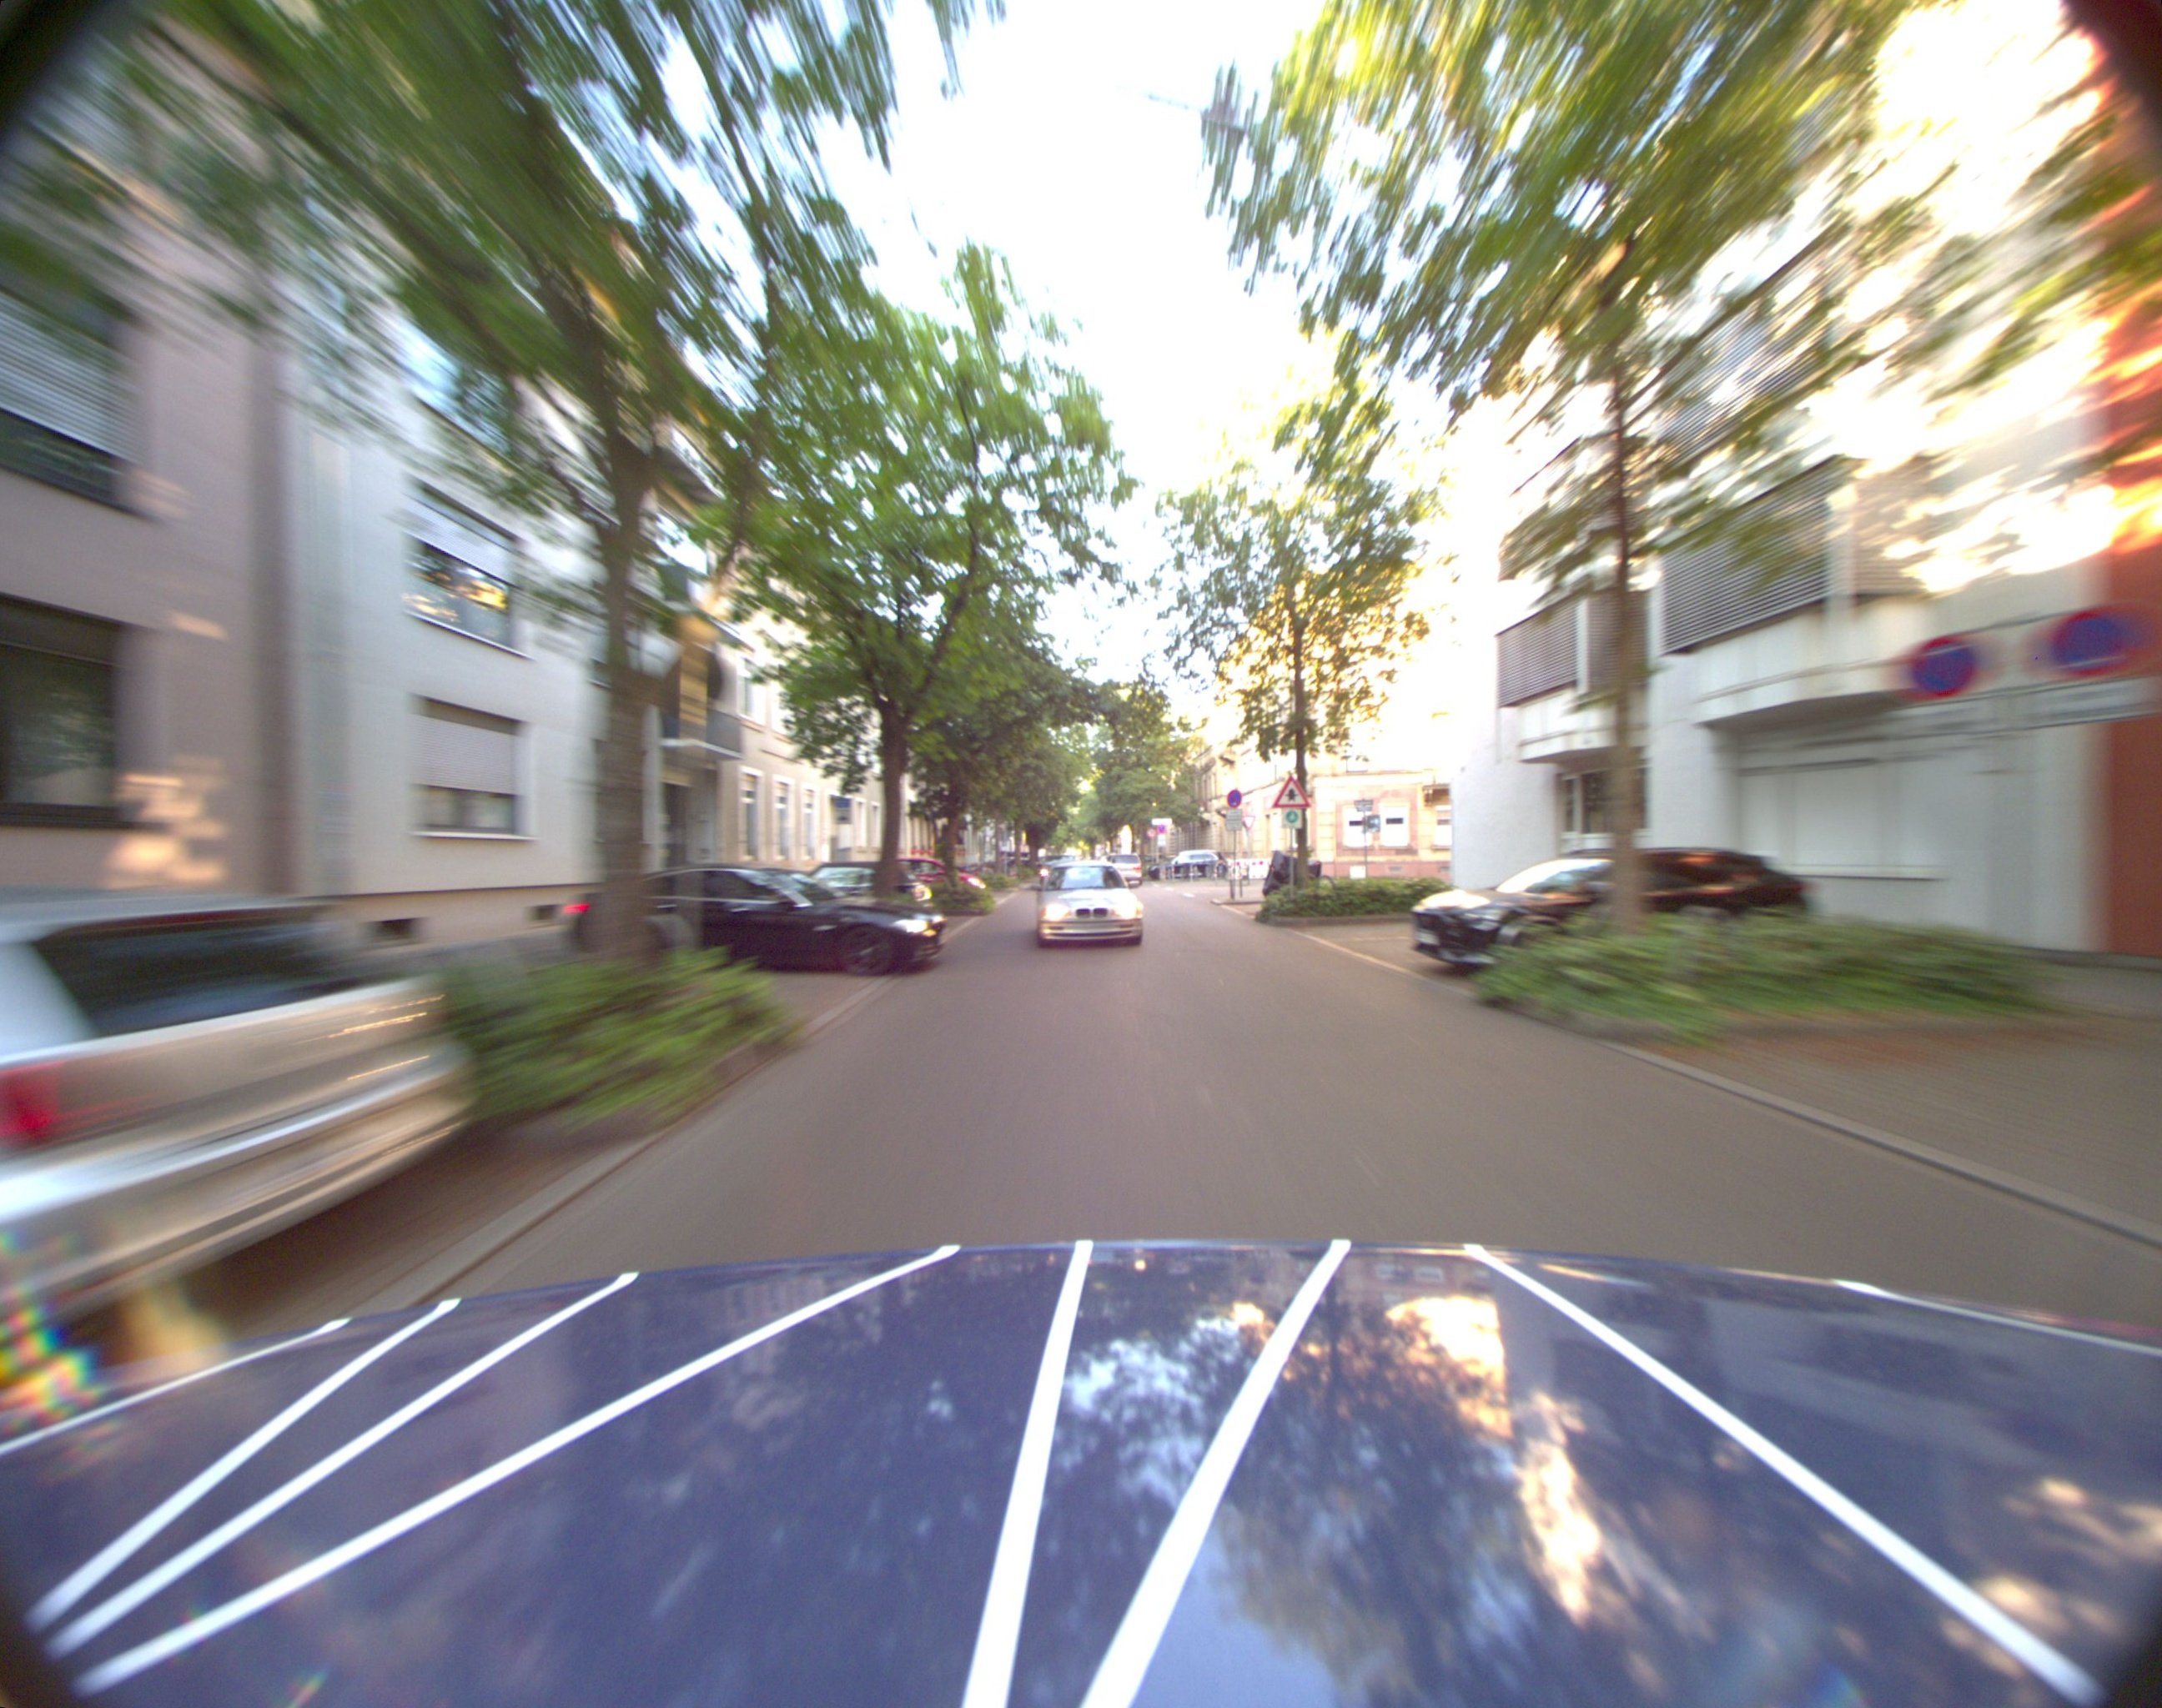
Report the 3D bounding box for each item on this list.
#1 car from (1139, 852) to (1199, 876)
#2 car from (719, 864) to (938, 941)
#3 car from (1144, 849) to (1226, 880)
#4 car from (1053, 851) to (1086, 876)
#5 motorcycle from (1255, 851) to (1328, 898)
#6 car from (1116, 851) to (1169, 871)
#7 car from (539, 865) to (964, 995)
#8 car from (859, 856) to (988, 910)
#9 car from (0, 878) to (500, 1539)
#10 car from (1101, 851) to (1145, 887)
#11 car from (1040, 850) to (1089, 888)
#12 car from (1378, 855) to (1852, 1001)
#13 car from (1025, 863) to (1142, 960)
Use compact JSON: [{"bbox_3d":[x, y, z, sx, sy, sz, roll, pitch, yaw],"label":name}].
[{"bbox_3d":[6.038,0.682,52.004,3.994,1.576,2.001,0,1,10],"label":"car"},{"bbox_3d":[-4.903,0.927,15.207,3.846,1.403,1.712,0,0,-5],"label":"car"},{"bbox_3d":[5.996,0.592,44.301,4.602,1.725,2.141,-1,1,4],"label":"car"},{"bbox_3d":[-0.751,0.639,53.833,1.915,1.679,3.971,-1,0,5],"label":"car"},{"bbox_3d":[6.932,0.648,25.053,2.234,1.461,0.900,-1,1,-23],"label":"motorcycle"},{"bbox_3d":[5.509,0.596,68.367,4.529,1.706,2.000,-1,1,0],"label":"car"},{"bbox_3d":[-4.206,0.949,10.366,4.887,1.488,1.988,-1,0,0],"label":"car"},{"bbox_3d":[-4.866,0.871,23.893,3.732,1.544,1.754,-1,1,-3],"label":"car"},{"bbox_3d":[-4.617,0.886,2.386,4.093,1.482,1.797,-1,1,-4],"label":"car"},{"bbox_3d":[2.067,0.696,38.627,1.787,1.679,4.384,-1,0,-3],"label":"car"},{"bbox_3d":[-0.702,0.656,35.436,1.893,1.636,4.001,-2,0,4],"label":"car"},{"bbox_3d":[6.263,0.819,9.306,4.521,1.517,1.871,-1,1,-1],"label":"car"},{"bbox_3d":[-0.002,0.901,13.635,1.737,1.363,4.332,-1,0,-1],"label":"car"}]
